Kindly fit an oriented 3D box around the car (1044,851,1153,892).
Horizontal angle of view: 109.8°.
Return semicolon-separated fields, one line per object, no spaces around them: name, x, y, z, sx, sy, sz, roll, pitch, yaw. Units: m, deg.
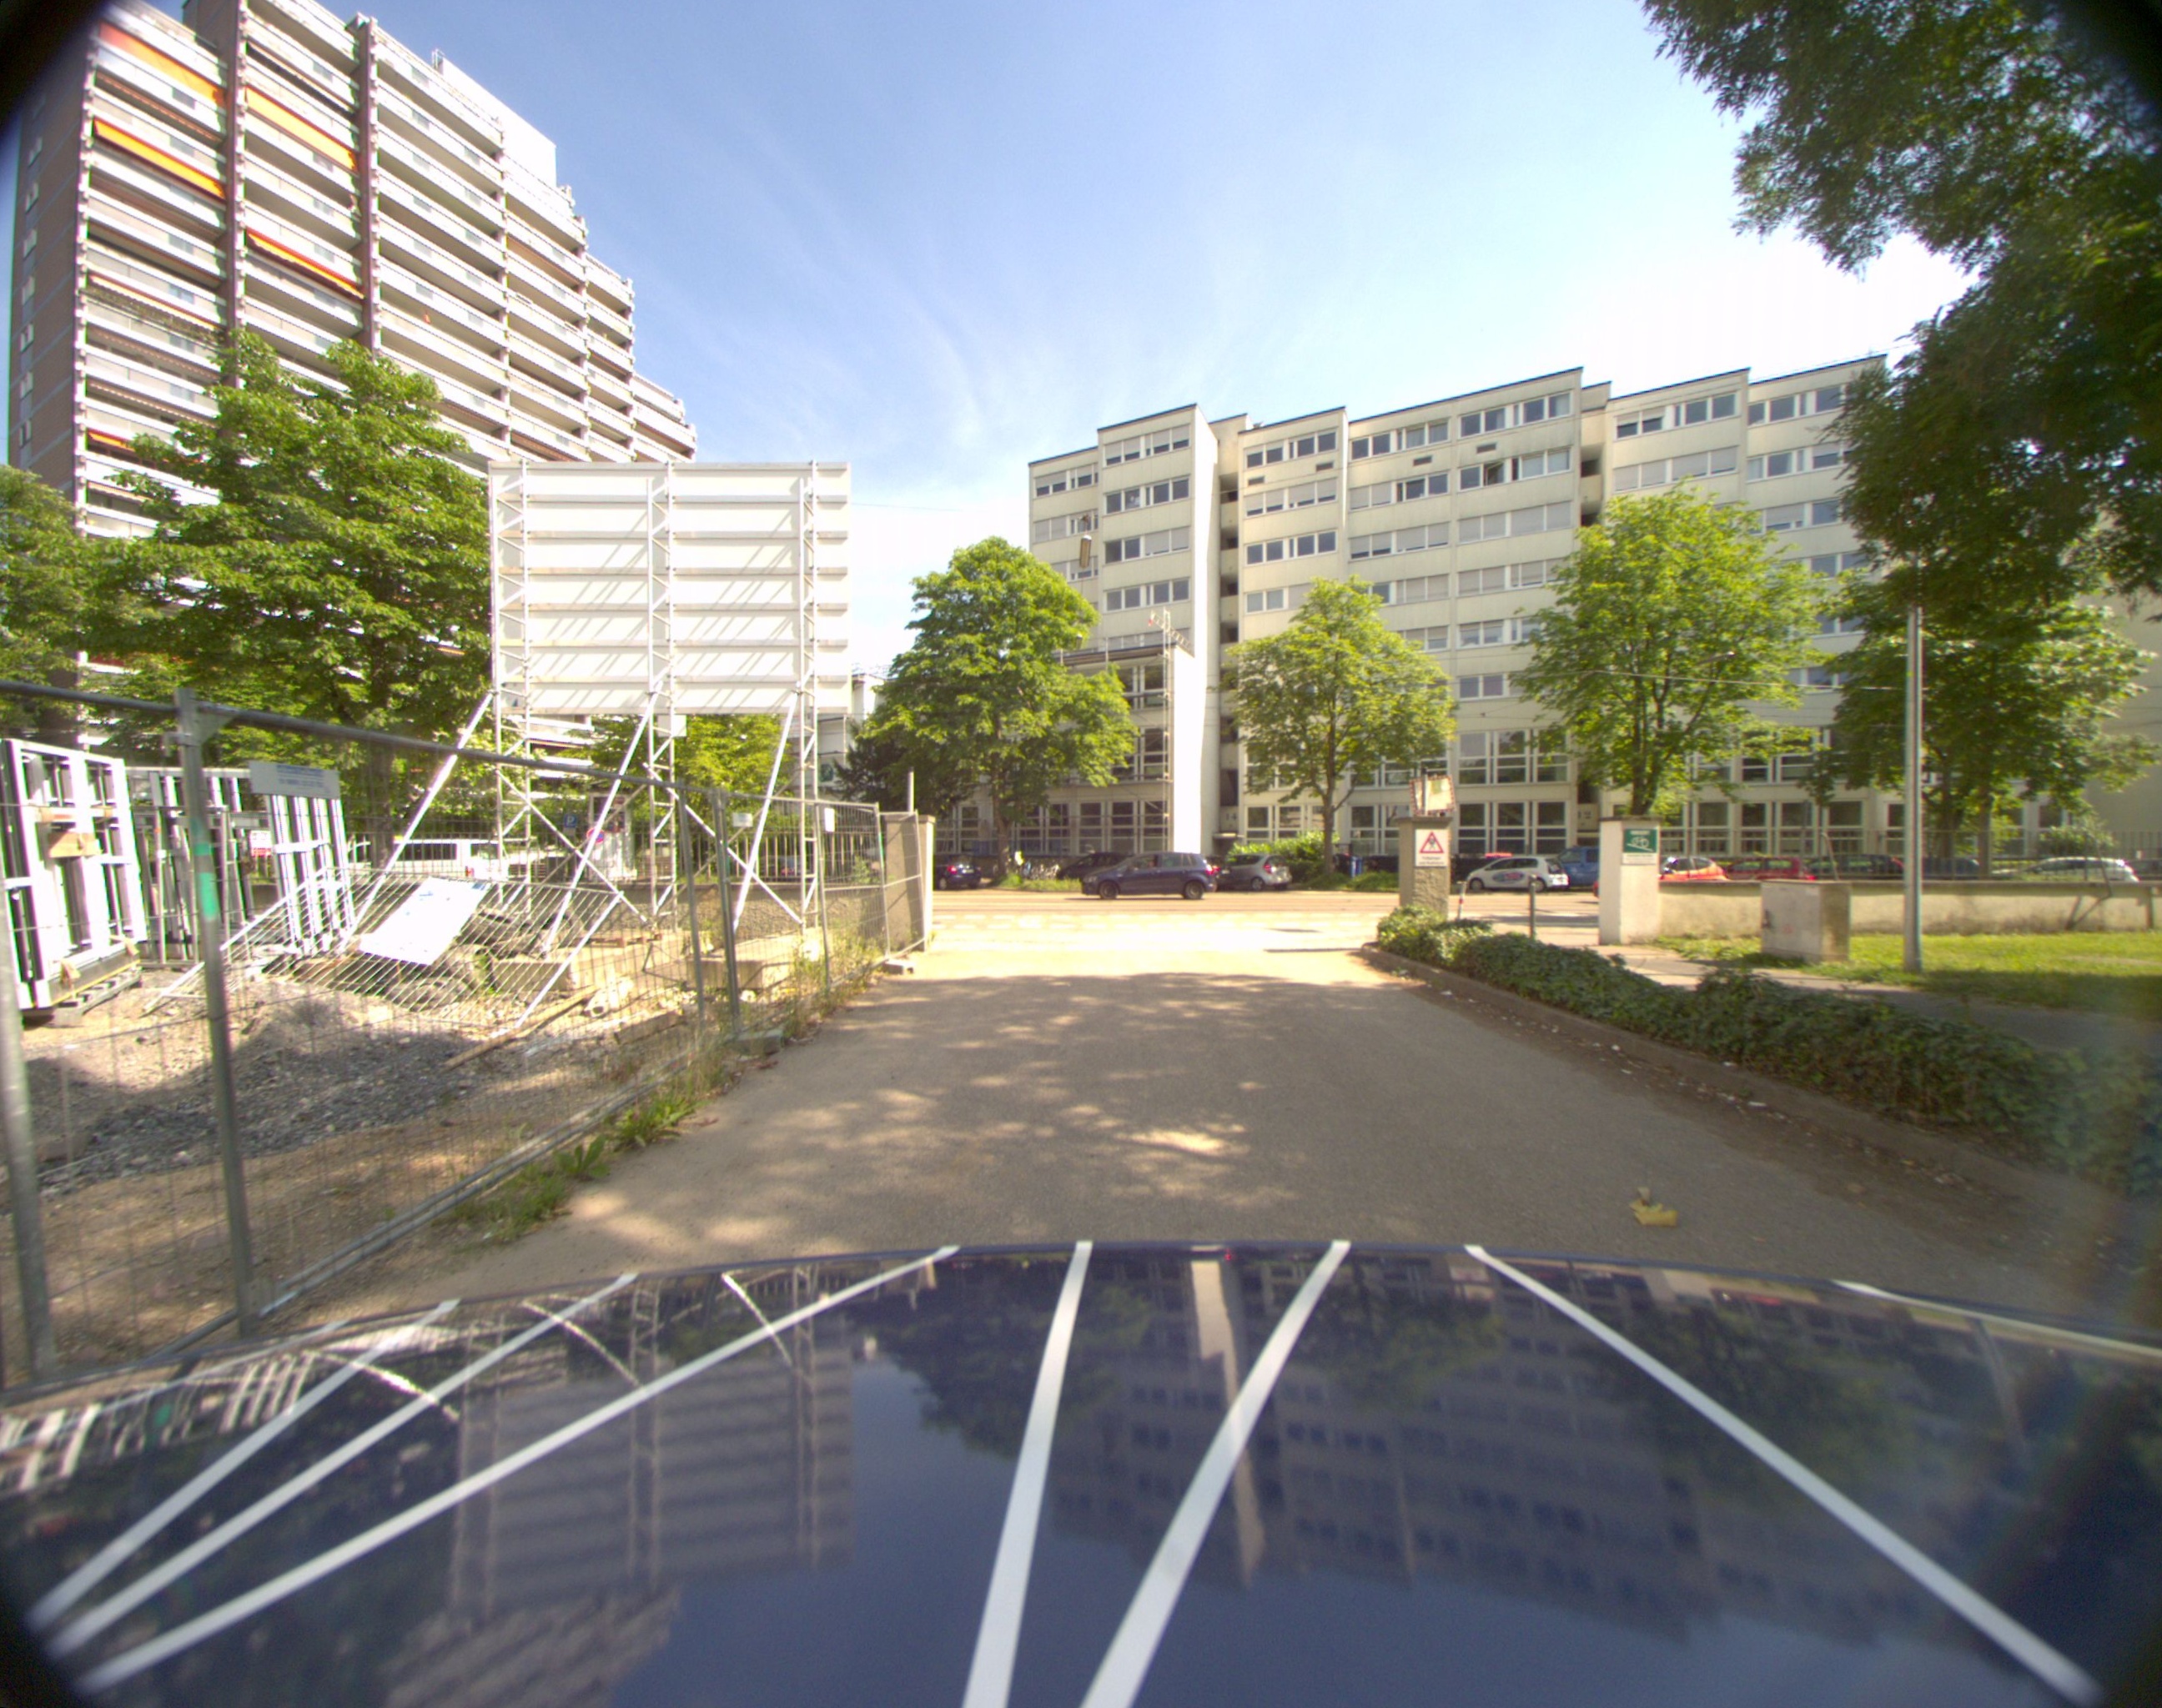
car;0.669;0.675;31.328;4.378;1.556;1.812;0;1;43

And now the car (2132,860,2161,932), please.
car;24.187;0.846;15.168;3.997;1.467;1.734;0;0;1

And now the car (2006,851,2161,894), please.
car;41.004;0.722;31.047;1.833;1.652;3.988;0;0;-42

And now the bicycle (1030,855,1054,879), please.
bicycle;-1.942;0.637;38.132;0.488;1.193;2.019;0;0;19

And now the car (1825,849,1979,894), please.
car;31.830;0.664;29.662;3.988;1.630;1.808;-1;-1;44

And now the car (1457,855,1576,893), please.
car;17.718;0.772;31.057;1.713;1.455;3.840;0;0;-34

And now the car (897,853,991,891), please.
car;-5.642;0.681;31.068;3.988;1.443;1.657;0;1;42

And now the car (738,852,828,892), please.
car;-12.225;0.675;31.044;4.134;1.402;1.846;2;3;44

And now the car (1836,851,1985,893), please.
car;33.705;0.720;31.049;3.988;1.630;1.836;-1;-1;44

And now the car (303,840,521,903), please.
car;-21.464;0.544;24.544;5.245;1.934;1.996;0;0;0

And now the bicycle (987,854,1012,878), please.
bicycle;-4.167;0.587;39.139;0.488;1.193;2.019;0;0;18

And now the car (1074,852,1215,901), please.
car;1.997;0.724;24.706;4.387;1.512;1.943;0;0;0

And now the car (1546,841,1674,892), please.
car;21.245;0.492;30.627;3.988;1.895;1.791;-1;-1;44

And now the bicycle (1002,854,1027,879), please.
bicycle;-3.381;0.613;38.638;0.488;1.193;2.019;0;0;19

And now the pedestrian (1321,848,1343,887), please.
pedestrian;11.603;0.607;35.087;0.753;1.766;0.731;0;1;-2

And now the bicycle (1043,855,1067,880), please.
bicycle;-1.281;0.661;37.943;0.488;1.193;2.019;0;0;19

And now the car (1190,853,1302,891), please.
car;6.871;0.721;31.904;4.327;1.477;1.806;0;0;45

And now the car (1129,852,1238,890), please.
car;4.187;0.662;31.372;4.173;1.467;1.805;0;0;42

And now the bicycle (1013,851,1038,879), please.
bicycle;-2.798;0.561;38.474;0.488;1.370;2.019;0;0;19

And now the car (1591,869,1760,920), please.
car;17.747;1.176;22.742;4.176;1.404;1.661;0;0;-11

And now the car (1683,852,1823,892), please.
car;27.375;0.717;31.036;4.208;1.529;1.786;-1;-1;44
